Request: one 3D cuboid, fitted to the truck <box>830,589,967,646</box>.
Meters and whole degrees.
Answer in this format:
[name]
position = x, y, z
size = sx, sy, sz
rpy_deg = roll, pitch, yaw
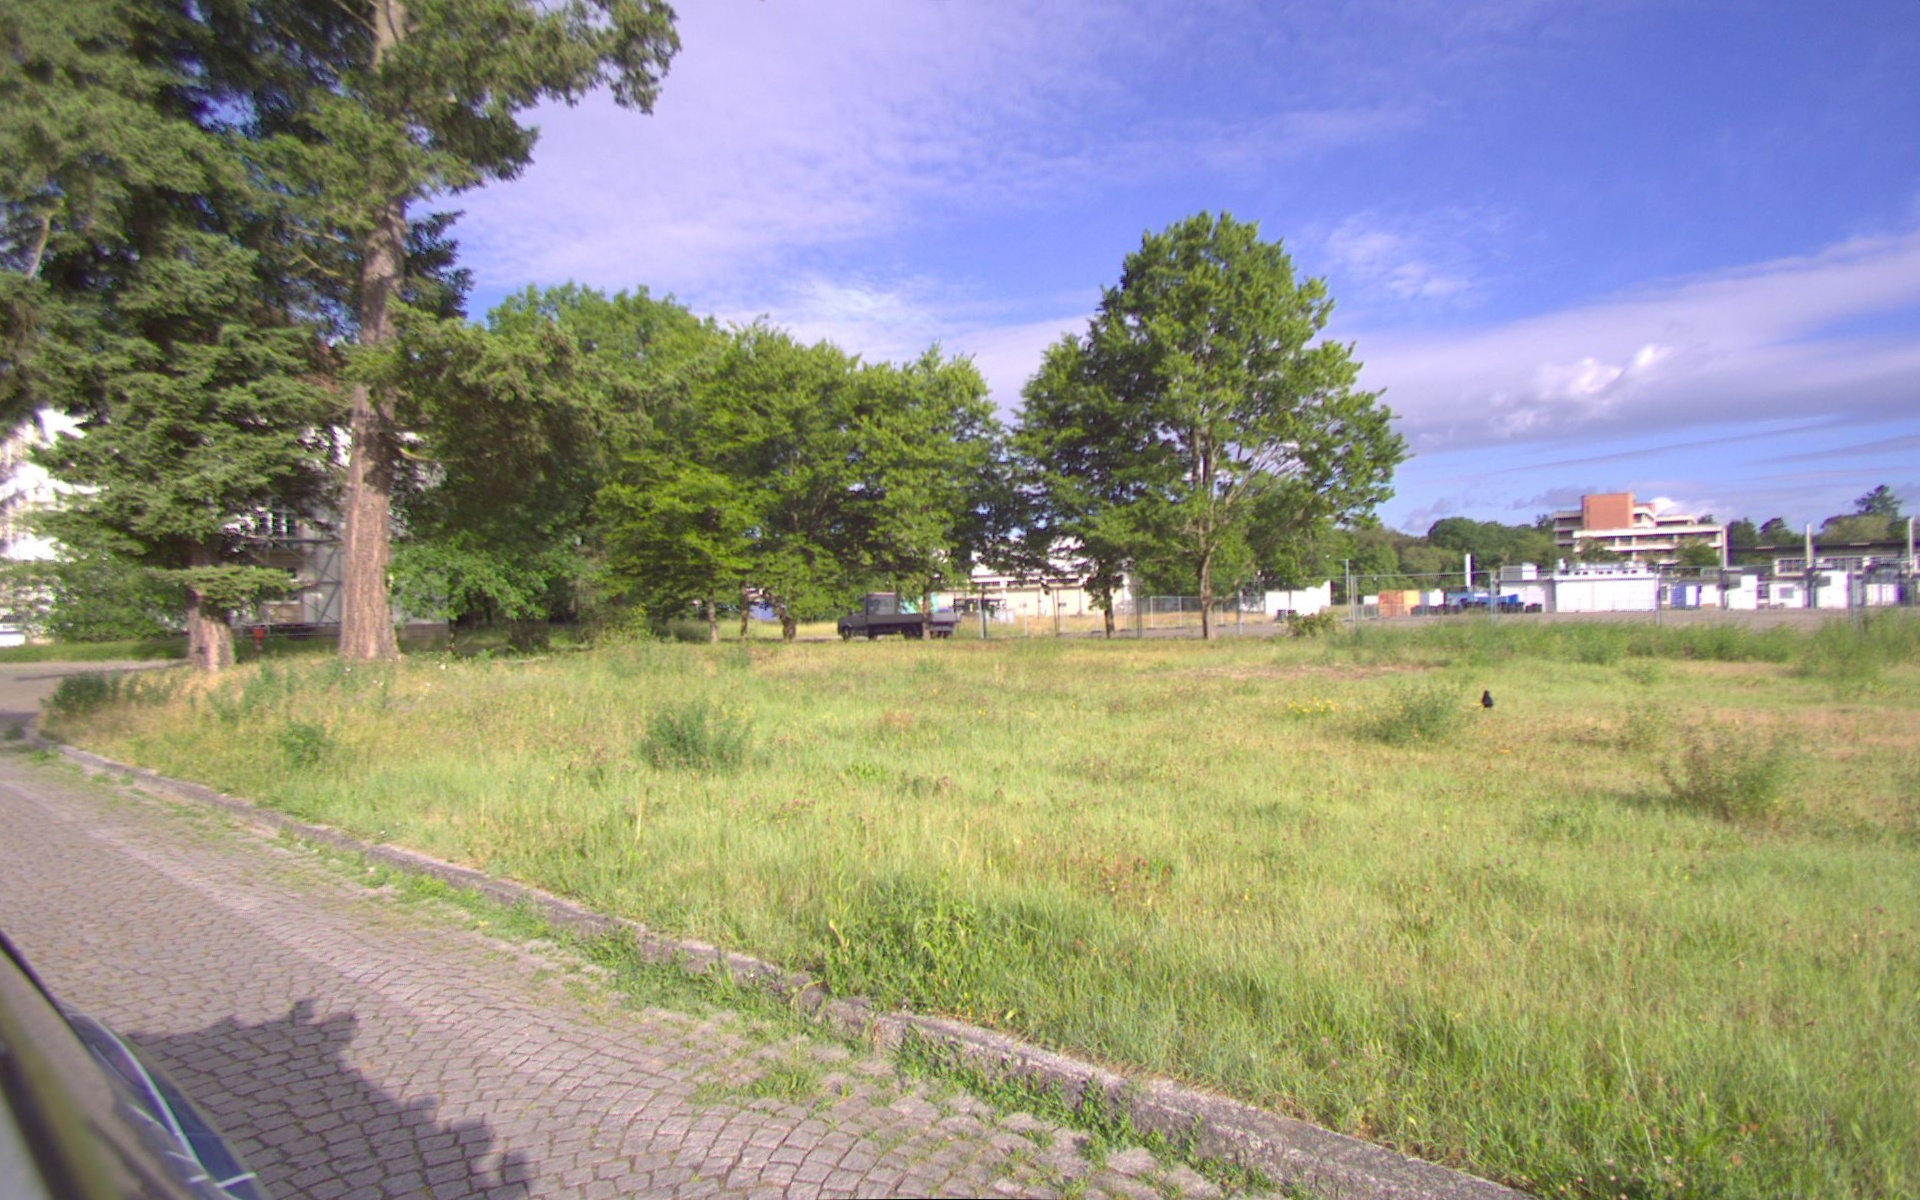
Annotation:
[truck]
position = -3.067, 0.870, 48.906
size = 6.955, 2.606, 2.386
rpy_deg = -2, -1, 41
